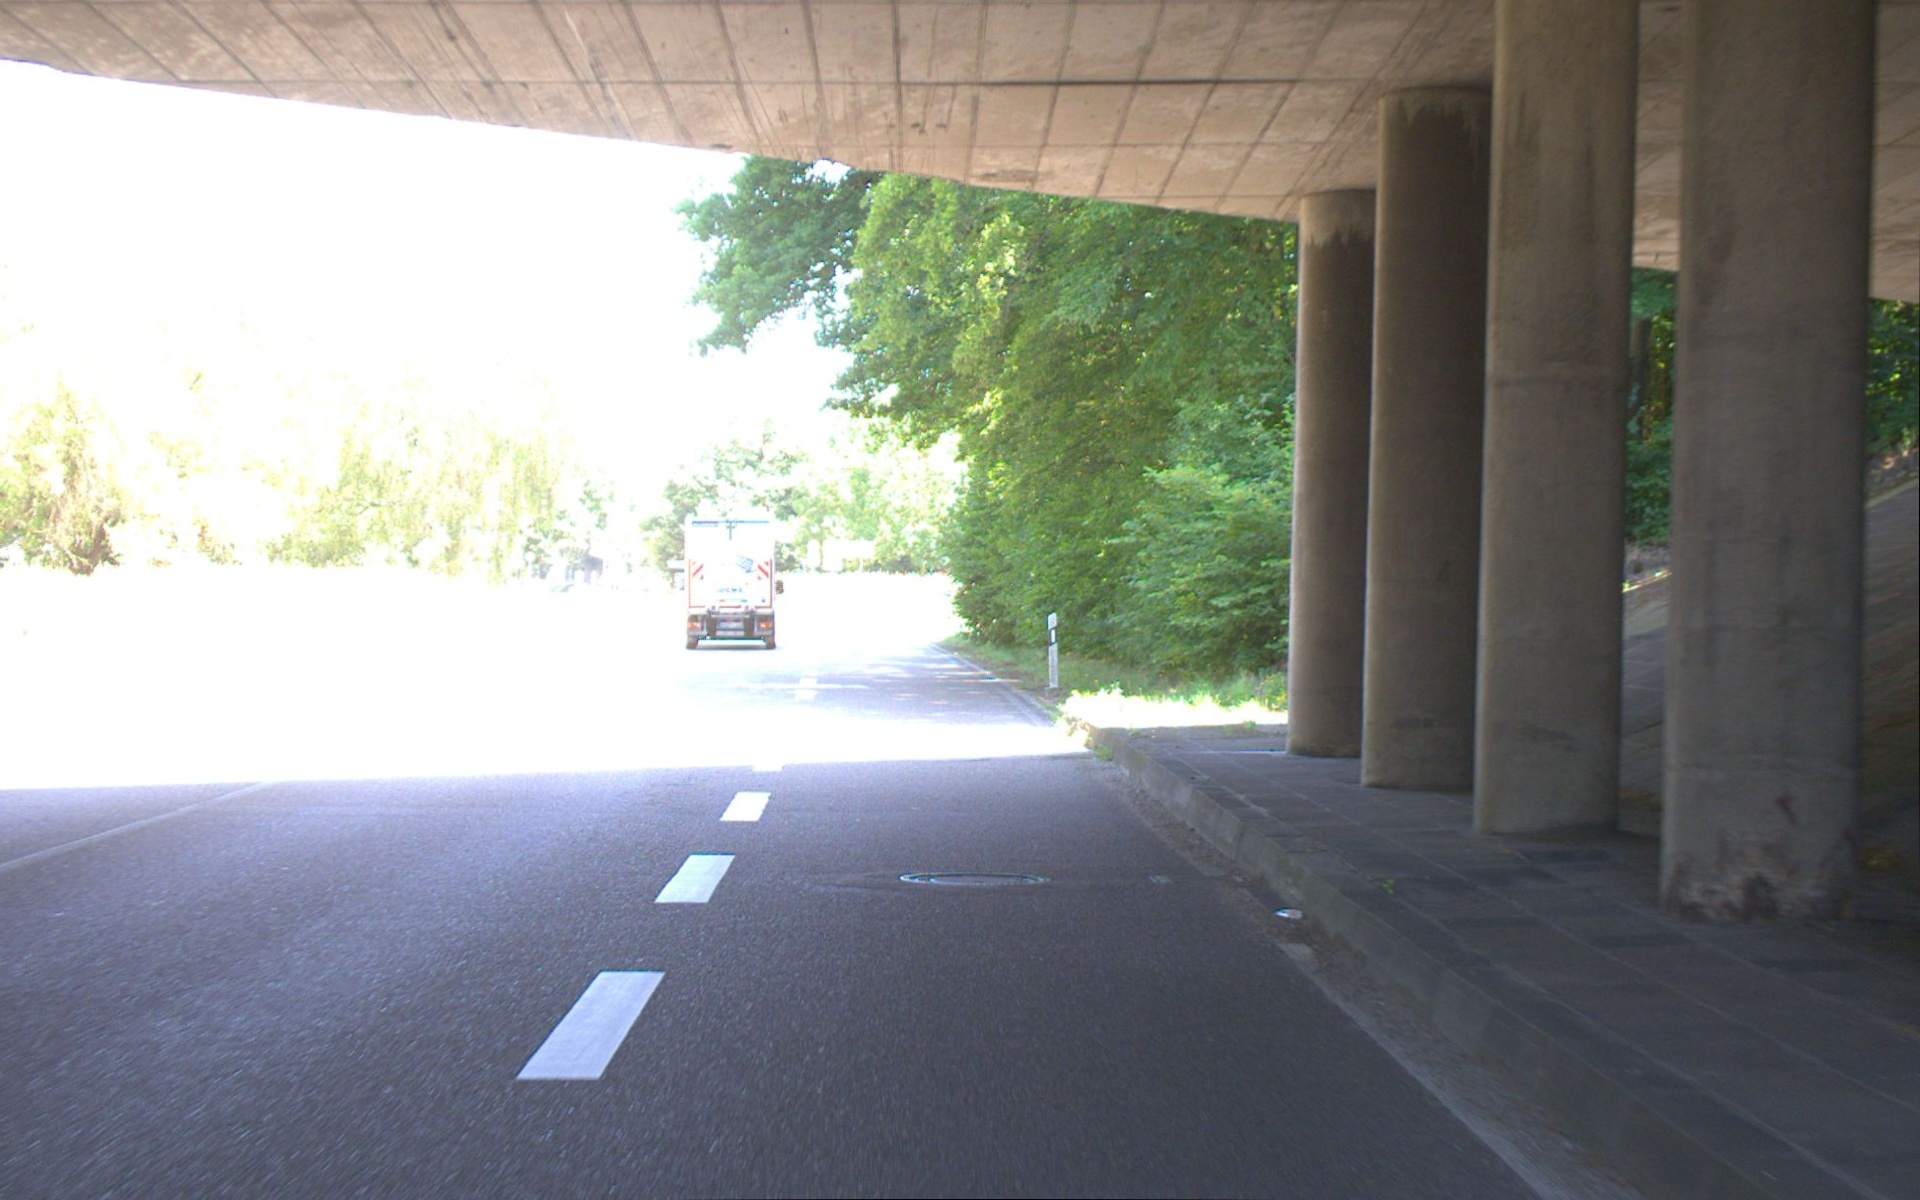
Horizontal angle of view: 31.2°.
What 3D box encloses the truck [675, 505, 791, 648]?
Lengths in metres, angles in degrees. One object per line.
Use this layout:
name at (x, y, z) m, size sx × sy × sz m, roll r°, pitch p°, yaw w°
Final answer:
truck at (-5.178, -0.567, 78.487) m, size 2.533 × 3.124 × 5.362 m, roll 0°, pitch 1°, yaw -4°
